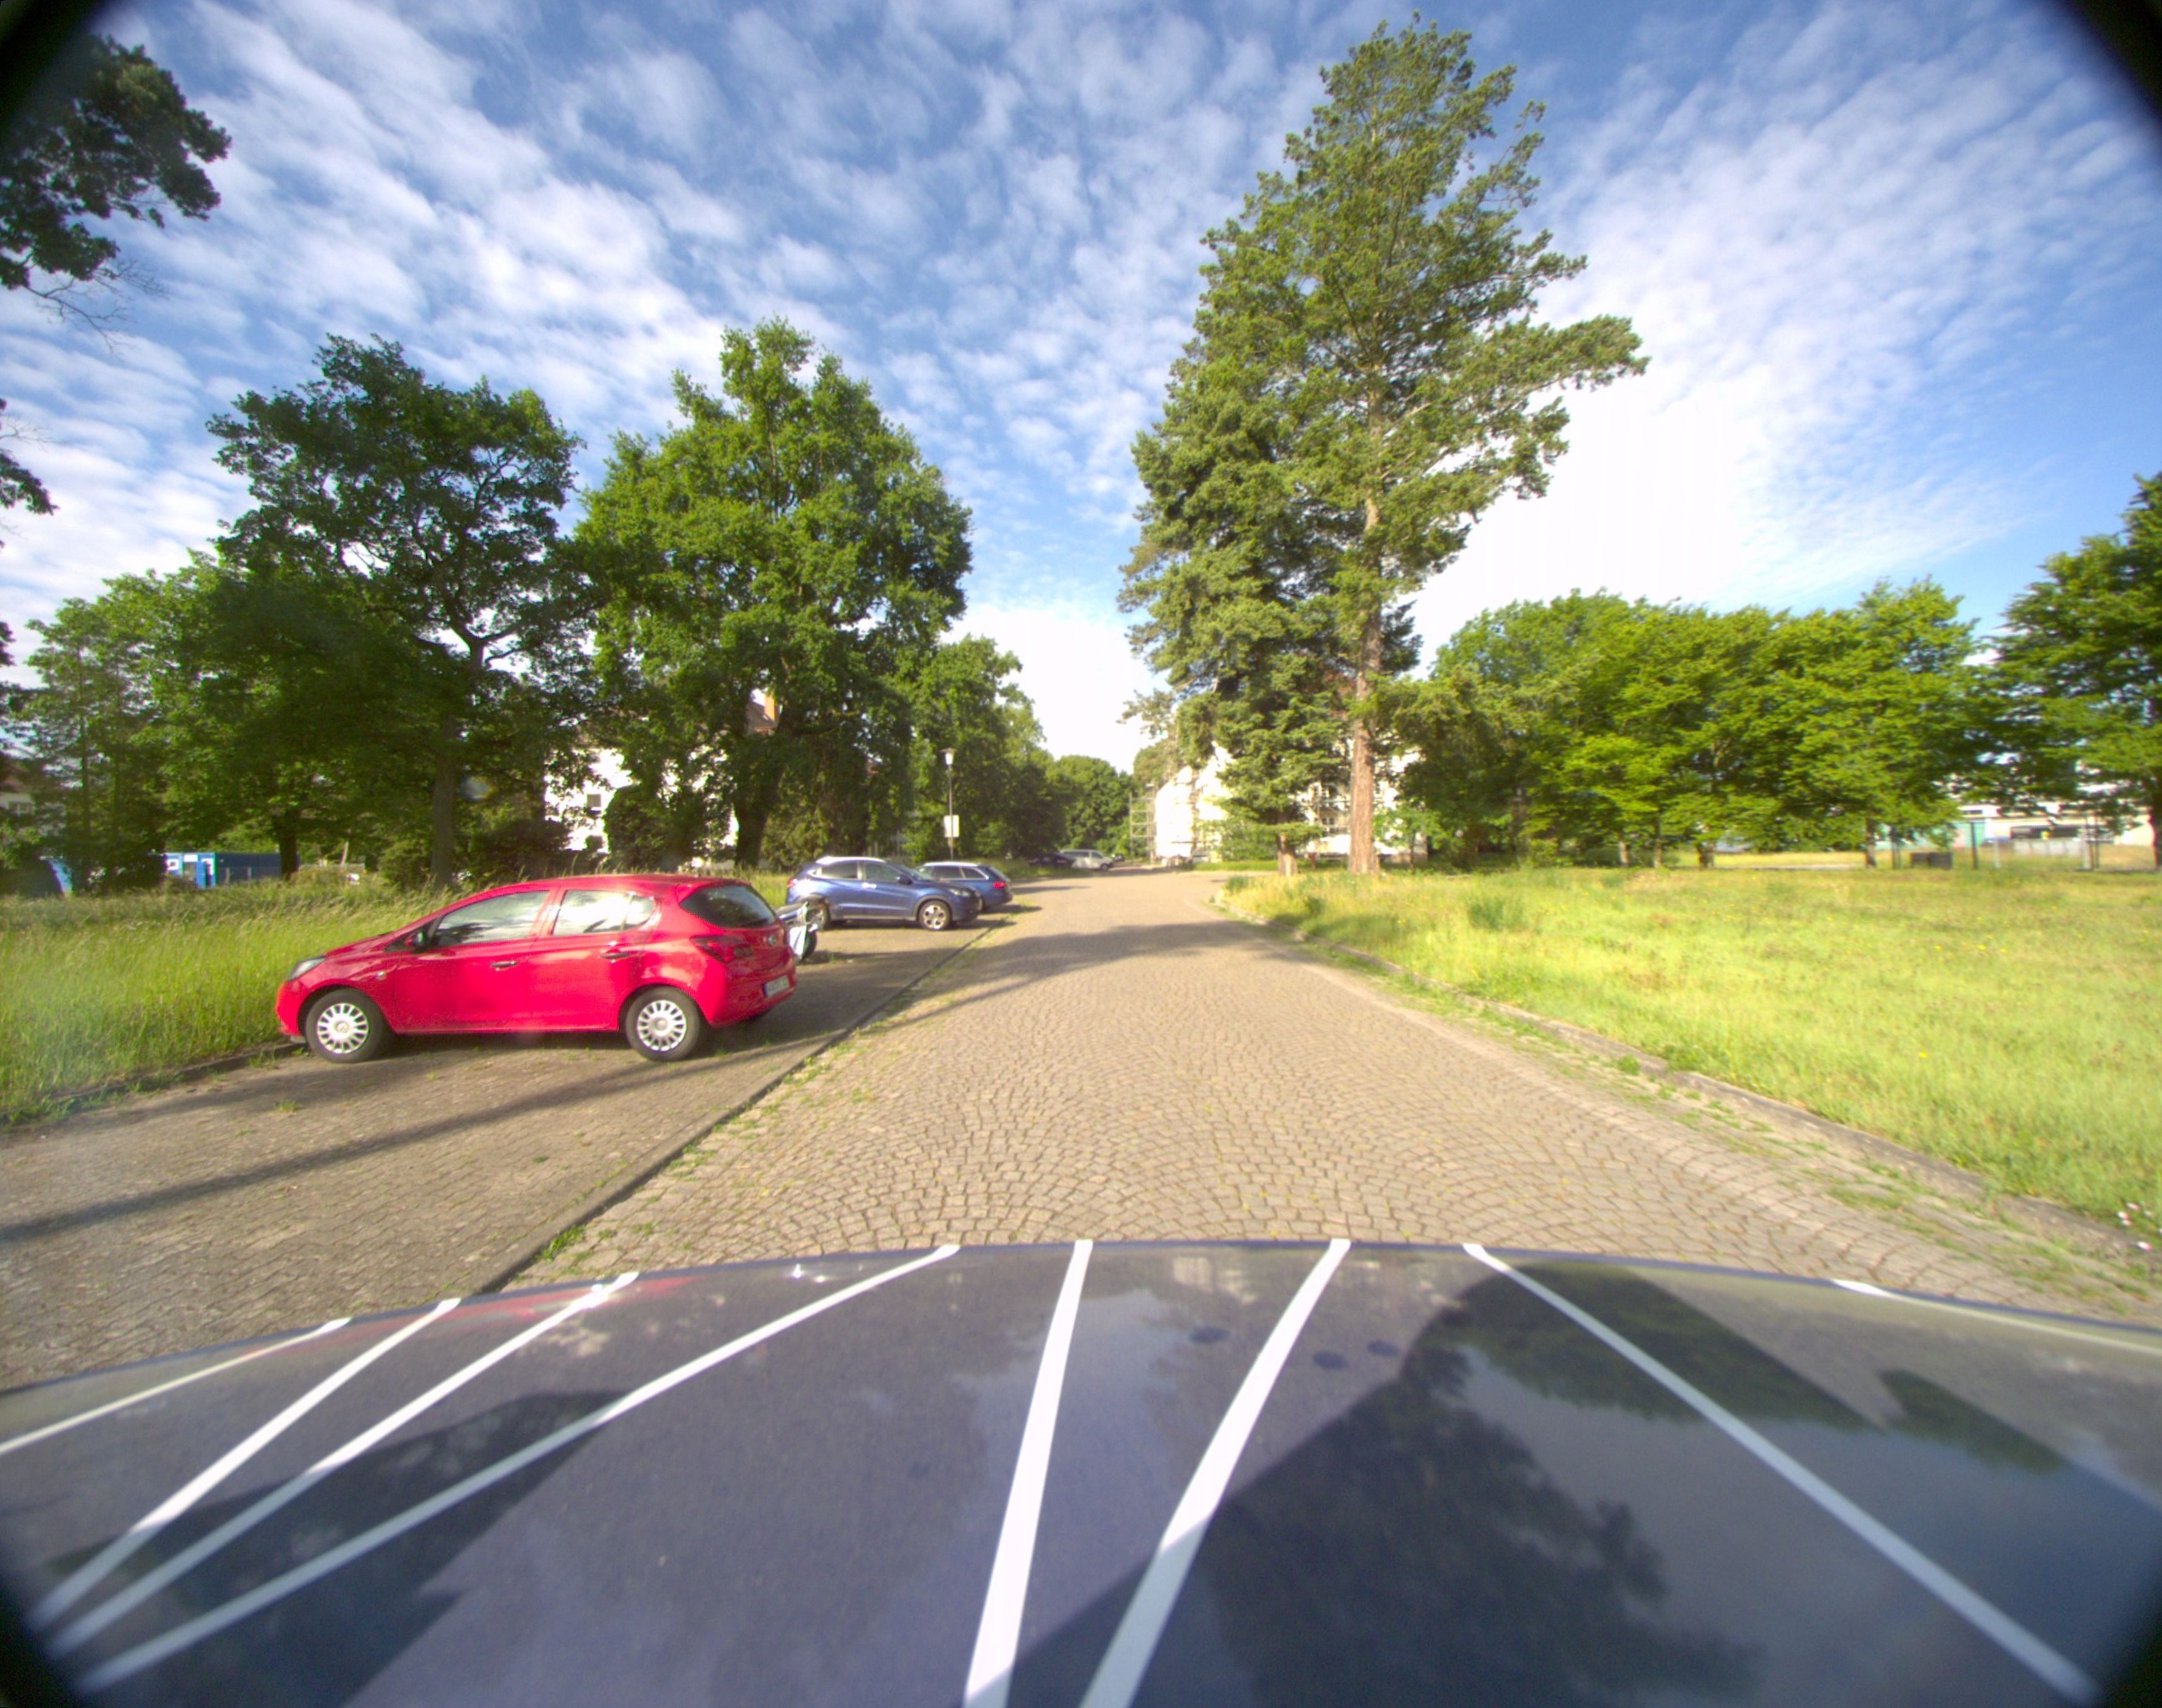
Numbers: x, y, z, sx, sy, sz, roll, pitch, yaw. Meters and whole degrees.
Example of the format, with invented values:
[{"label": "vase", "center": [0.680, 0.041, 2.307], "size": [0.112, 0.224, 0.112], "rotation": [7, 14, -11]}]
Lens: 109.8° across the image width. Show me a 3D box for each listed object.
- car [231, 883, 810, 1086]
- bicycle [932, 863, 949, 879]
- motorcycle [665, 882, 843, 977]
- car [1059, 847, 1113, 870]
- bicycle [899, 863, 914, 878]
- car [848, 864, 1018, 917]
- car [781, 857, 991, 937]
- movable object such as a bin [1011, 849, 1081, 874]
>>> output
[{"label": "car", "center": [-4.603, 1.038, 6.678], "size": [3.837, 1.470, 1.645], "rotation": [0, 0, 0]}, {"label": "bicycle", "center": [-9.328, 1.145, 50.347], "size": [0.710, 1.010, 1.257], "rotation": [-1, 0, 8]}, {"label": "motorcycle", "center": [-4.791, 1.094, 11.236], "size": [2.305, 1.312, 0.726], "rotation": [0, 1, 1]}, {"label": "car", "center": [0.487, 0.366, 70.403], "size": [4.936, 2.002, 2.000], "rotation": [-1, 1, 1]}, {"label": "bicycle", "center": [-12.679, 1.188, 55.192], "size": [0.712, 1.010, 1.024], "rotation": [-2, 1, -36]}, {"label": "car", "center": [-4.134, 1.005, 21.669], "size": [4.459, 1.399, 1.714], "rotation": [0, 1, 4]}, {"label": "car", "center": [-4.242, 0.917, 16.974], "size": [4.187, 1.581, 1.751], "rotation": [-1, 0, 1]}, {"label": "movable object such as a bin", "center": [-2.632, 0.558, 57.513], "size": [4.931, 1.749, 2.002], "rotation": [-1, 0, 16]}]
